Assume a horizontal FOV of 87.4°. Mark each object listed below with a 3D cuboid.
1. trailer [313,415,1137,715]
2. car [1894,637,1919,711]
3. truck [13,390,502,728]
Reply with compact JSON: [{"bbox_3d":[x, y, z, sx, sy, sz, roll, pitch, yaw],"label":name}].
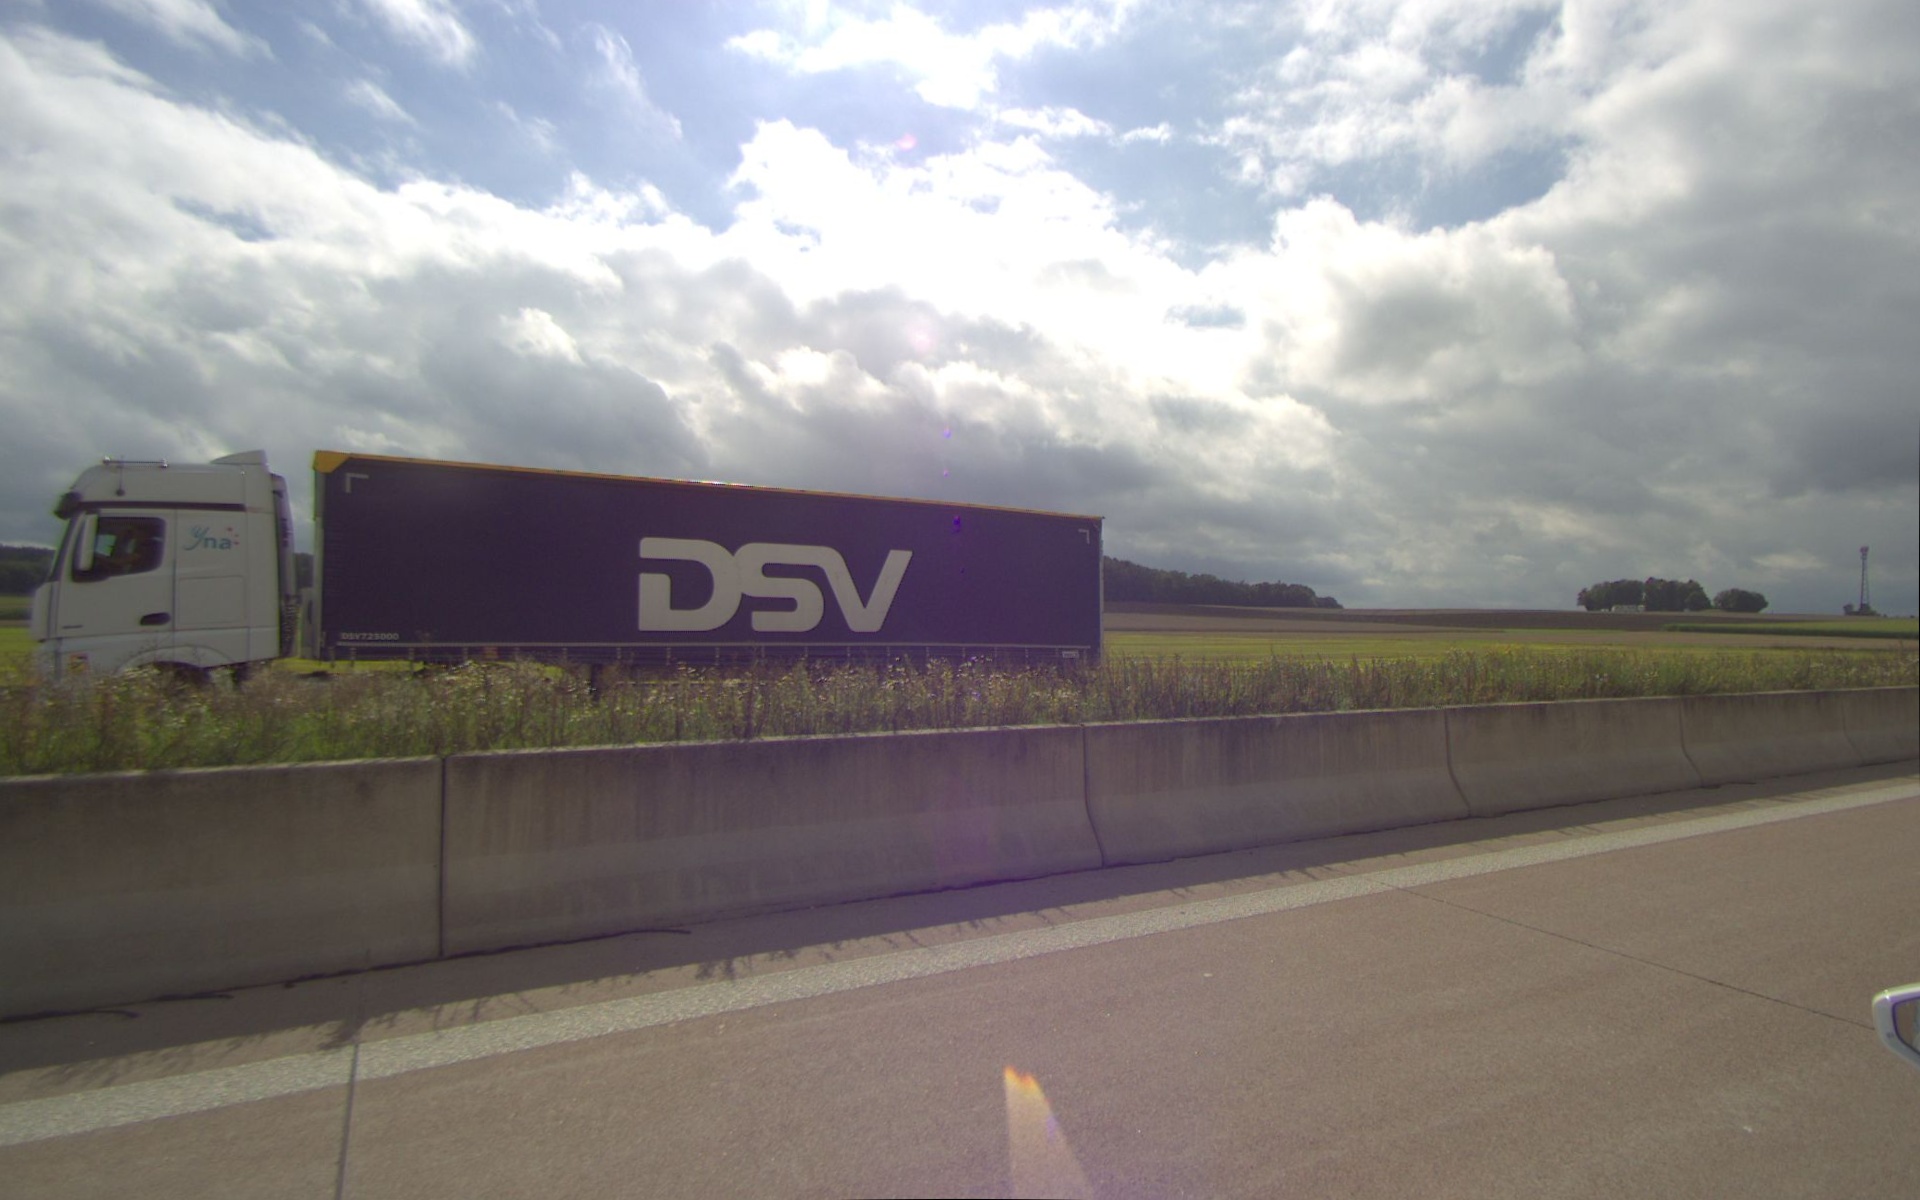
[{"bbox_3d":[-3.167,-0.309,18.192,14.161,4.011,2.757,1,-2,-30],"label":"trailer"},{"bbox_3d":[27.701,1.976,27.152,5.815,1.934,1.984,2,-3,-30],"label":"car"},{"bbox_3d":[-9.593,-0.417,14.429,5.228,4.011,2.757,1,-1,-30],"label":"truck"}]
